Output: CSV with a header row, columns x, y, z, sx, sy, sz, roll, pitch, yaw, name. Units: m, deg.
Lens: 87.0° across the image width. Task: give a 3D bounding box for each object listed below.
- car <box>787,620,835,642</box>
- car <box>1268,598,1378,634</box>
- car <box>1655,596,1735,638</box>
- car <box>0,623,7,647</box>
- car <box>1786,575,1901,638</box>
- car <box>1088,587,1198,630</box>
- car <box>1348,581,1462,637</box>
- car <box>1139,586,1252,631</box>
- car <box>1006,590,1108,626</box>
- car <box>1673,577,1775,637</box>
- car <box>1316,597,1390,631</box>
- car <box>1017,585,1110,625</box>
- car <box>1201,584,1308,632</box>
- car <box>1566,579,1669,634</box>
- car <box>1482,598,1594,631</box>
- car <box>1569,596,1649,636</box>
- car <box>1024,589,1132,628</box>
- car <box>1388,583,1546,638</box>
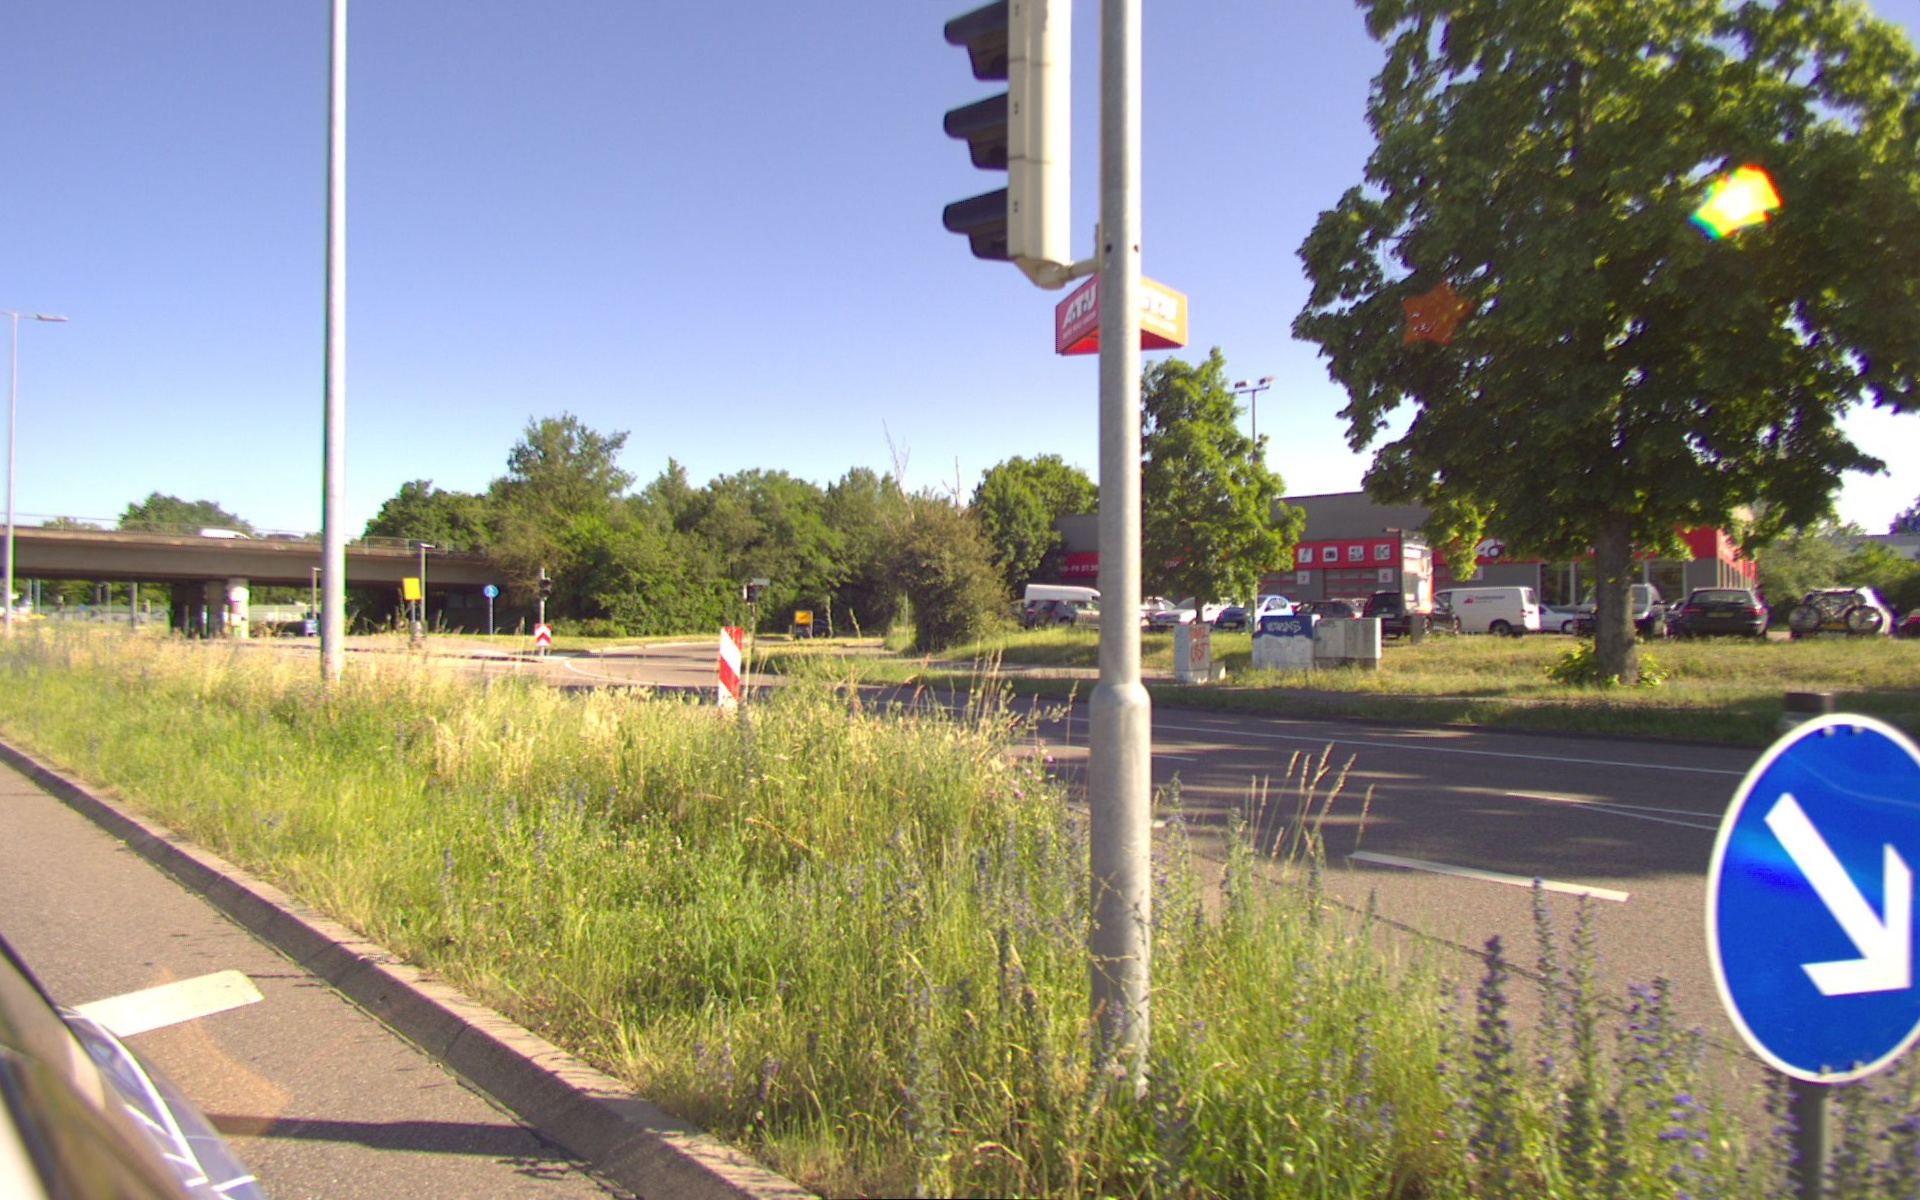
x,y,z,sx,sy,sz,roll,pitch,yaw,name
-10.175,2.123,69.399,1.768,1.436,4.362,1,-1,13,car
15.152,0.683,42.372,3.983,1.466,1.760,-1,-2,42,car
26.896,0.630,36.988,1.895,1.466,4.073,-1,-2,43,car
-60.981,2.172,63.262,4.101,1.455,1.616,-1,-2,41,car
21.531,0.193,24.746,1.945,1.399,4.571,-1,-2,41,car
7.026,0.347,38.650,4.064,1.563,1.900,1,-2,-37,car
13.593,0.306,30.810,1.947,1.563,4.073,-1,-2,43,car
8.571,0.343,36.748,4.065,1.563,1.899,1,-2,-39,car
4.302,0.377,44.846,4.060,1.563,1.901,0,-1,-18,car
19.518,0.207,25.908,1.943,1.399,4.080,-1,-2,37,car
17.718,0.647,45.495,1.894,1.466,4.076,-1,-2,40,car
5.643,0.292,55.062,4.989,2.168,1.890,0,-1,9,car
10.244,0.309,35.050,4.070,1.563,1.820,1,-2,-45,car
18.086,0.208,27.770,1.945,1.399,4.077,-1,-2,39,car
27.123,0.702,47.572,4.286,1.466,1.869,-1,-2,42,car
25.116,0.632,39.107,1.895,1.466,4.073,-1,-2,43,car
4.888,0.388,41.921,4.060,1.563,1.901,1,-1,-27,car
19.339,0.433,38.806,5.131,1.971,1.759,-1,-2,44,car
